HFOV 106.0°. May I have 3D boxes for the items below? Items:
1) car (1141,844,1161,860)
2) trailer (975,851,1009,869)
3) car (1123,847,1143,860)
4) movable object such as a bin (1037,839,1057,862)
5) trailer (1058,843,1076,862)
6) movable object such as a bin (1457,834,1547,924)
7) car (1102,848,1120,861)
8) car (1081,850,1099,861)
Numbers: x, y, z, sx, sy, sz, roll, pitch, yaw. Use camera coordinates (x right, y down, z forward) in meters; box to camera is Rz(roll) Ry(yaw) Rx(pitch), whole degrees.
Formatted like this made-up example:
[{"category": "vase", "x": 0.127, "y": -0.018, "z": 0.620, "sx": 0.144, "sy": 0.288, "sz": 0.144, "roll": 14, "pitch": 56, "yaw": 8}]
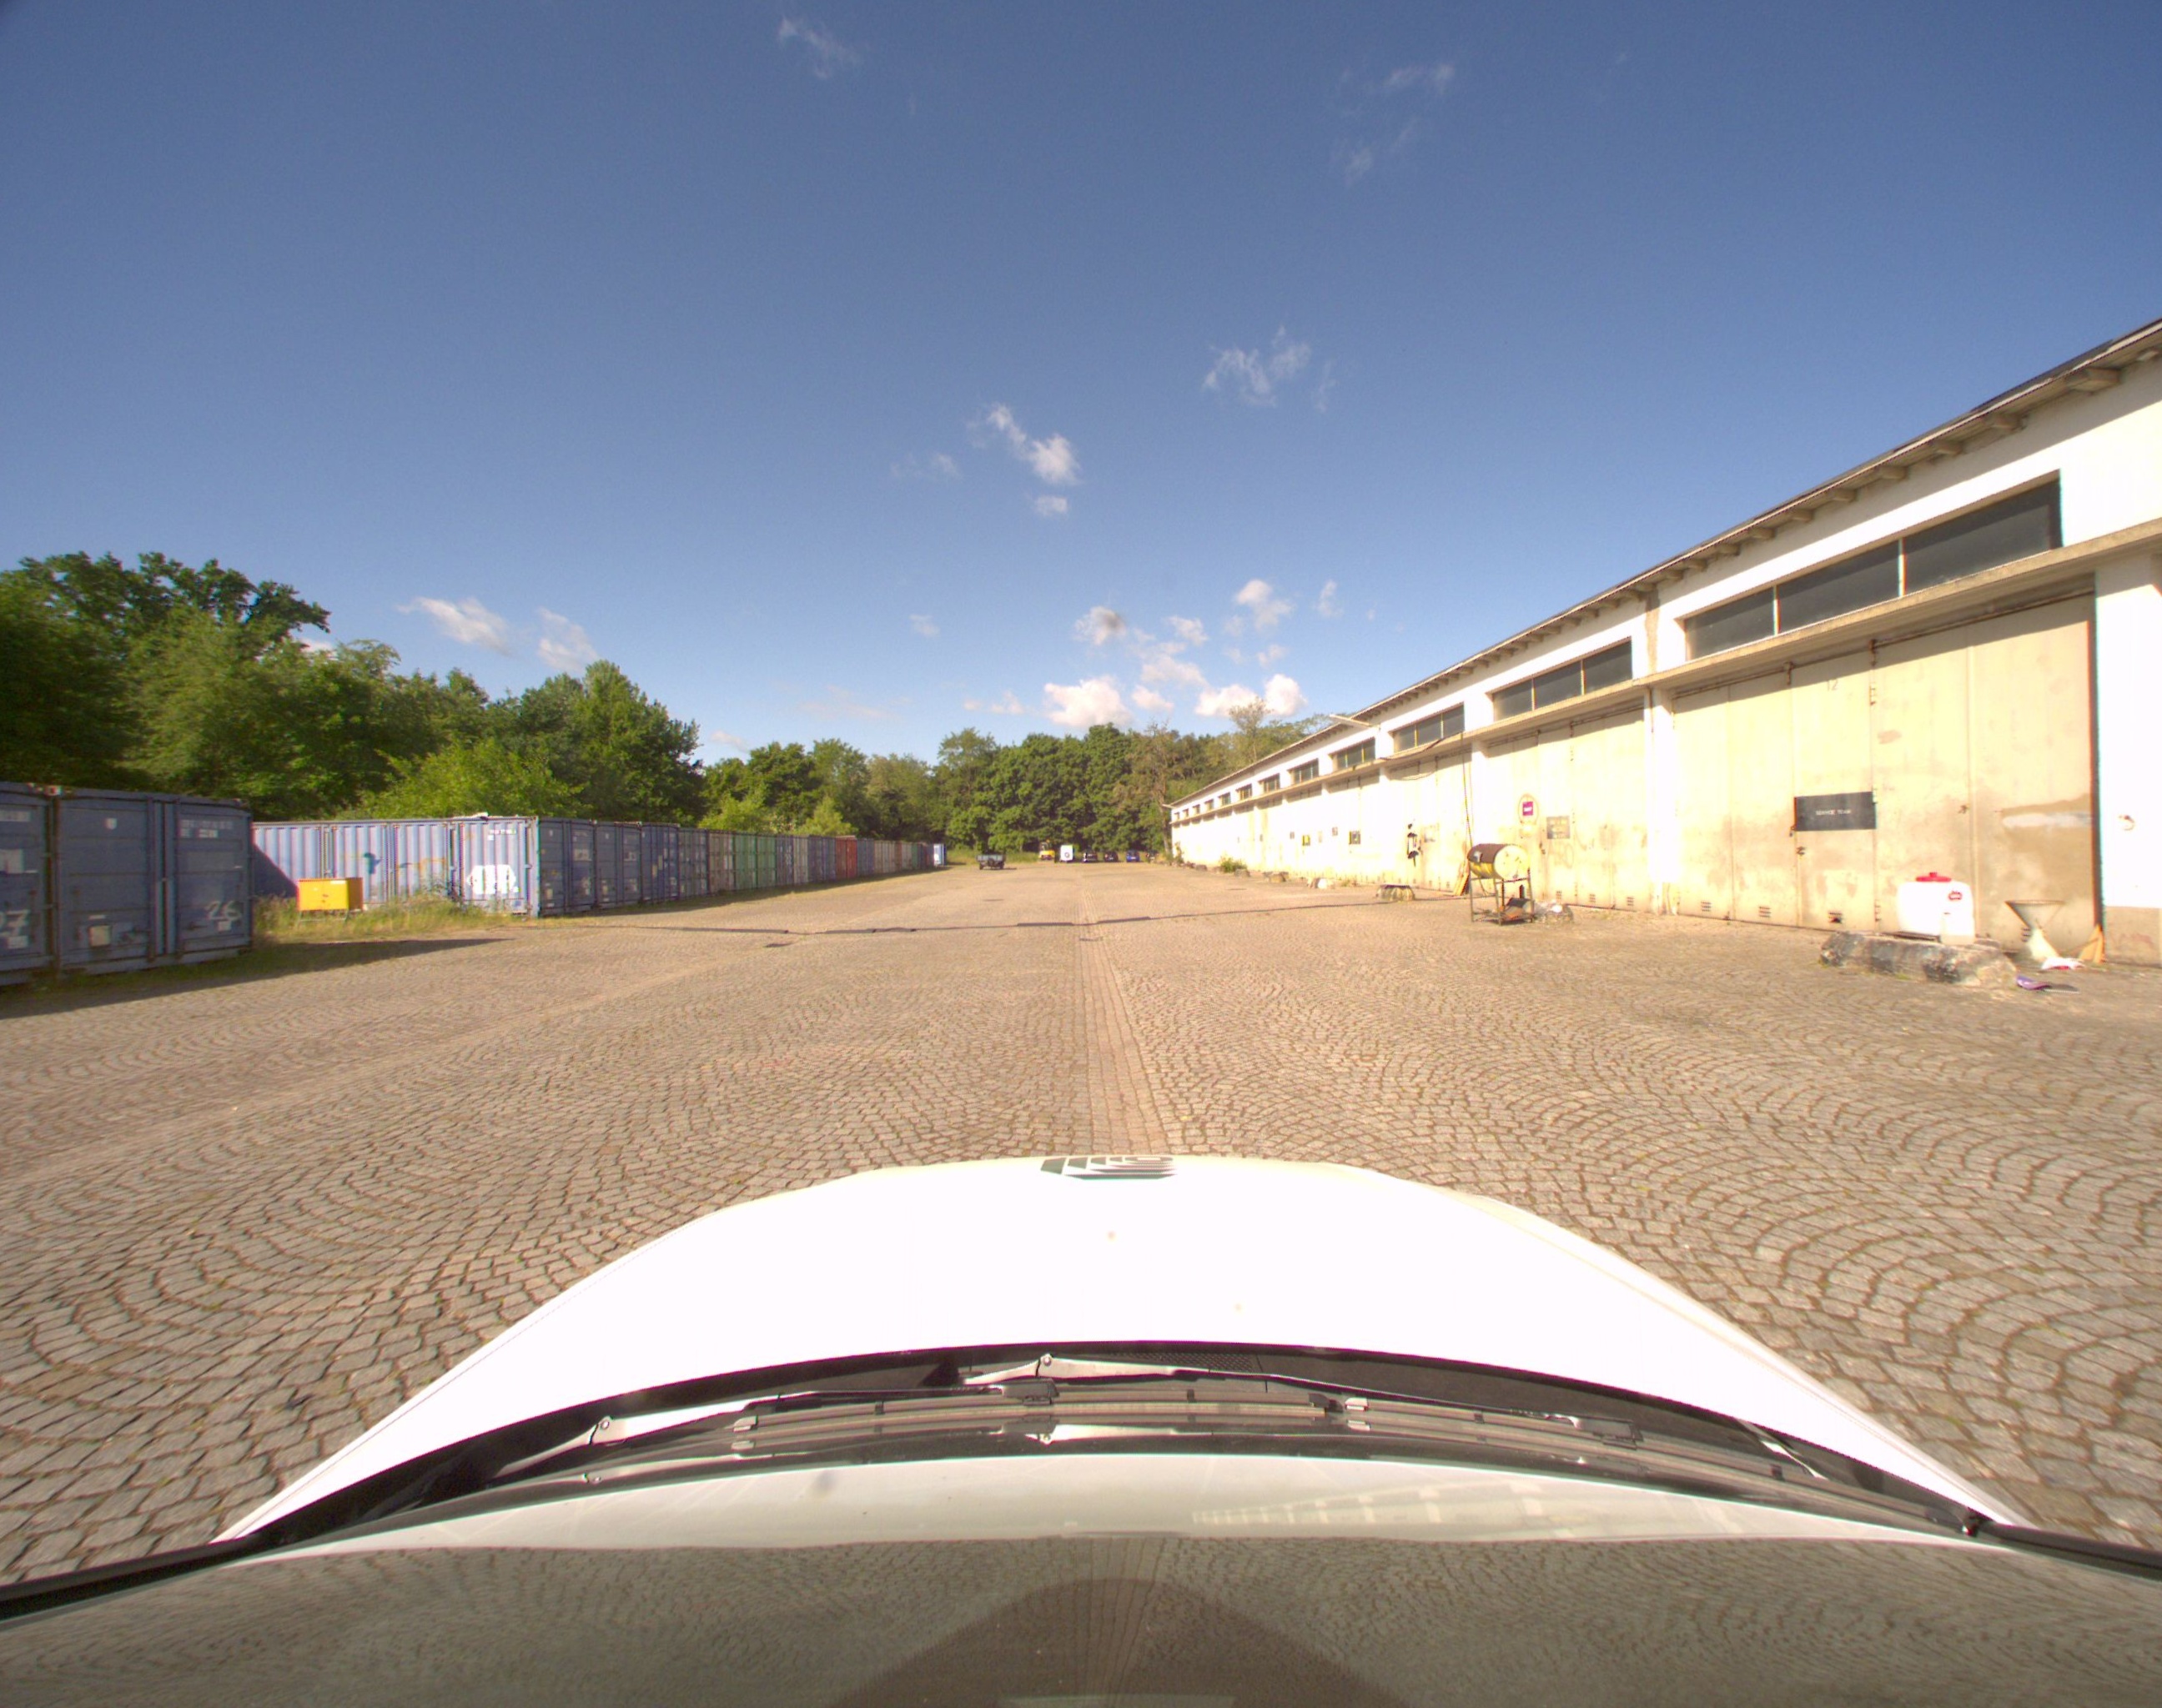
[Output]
[{"category": "car", "x": 8.475, "y": -0.273, "z": 98.352, "sx": 1.988, "sy": 1.772, "sz": 3.998, "roll": -2, "pitch": 0, "yaw": -1}, {"category": "trailer", "x": -8.595, "y": 0.569, "z": 79.055, "sx": 2.784, "sy": 1.646, "sz": 5.617, "roll": -2, "pitch": 0, "yaw": -2}, {"category": "car", "x": 6.137, "y": -0.064, "z": 97.057, "sx": 1.988, "sy": 1.466, "sz": 3.998, "roll": -2, "pitch": 0, "yaw": -1}, {"category": "movable object such as a bin", "x": -4.120, "y": -0.459, "z": 98.462, "sx": 2.227, "sy": 2.657, "sz": 3.996, "roll": -2, "pitch": 0, "yaw": -3}, {"category": "trailer", "x": -1.647, "y": -0.207, "z": 97.758, "sx": 1.988, "sy": 2.162, "sz": 4.429, "roll": -2, "pitch": 0, "yaw": -1}, {"category": "movable object such as a bin", "x": 6.974, "y": 0.392, "z": 13.541, "sx": 0.872, "sy": 1.401, "sz": 1.101, "roll": -2, "pitch": 0, "yaw": -2}, {"category": "car", "x": 3.555, "y": 0.065, "z": 97.011, "sx": 1.988, "sy": 1.424, "sz": 3.998, "roll": -2, "pitch": 0, "yaw": -1}, {"category": "car", "x": 1.041, "y": 0.181, "z": 96.583, "sx": 1.988, "sy": 1.258, "sz": 3.998, "roll": -2, "pitch": 0, "yaw": -1}]
